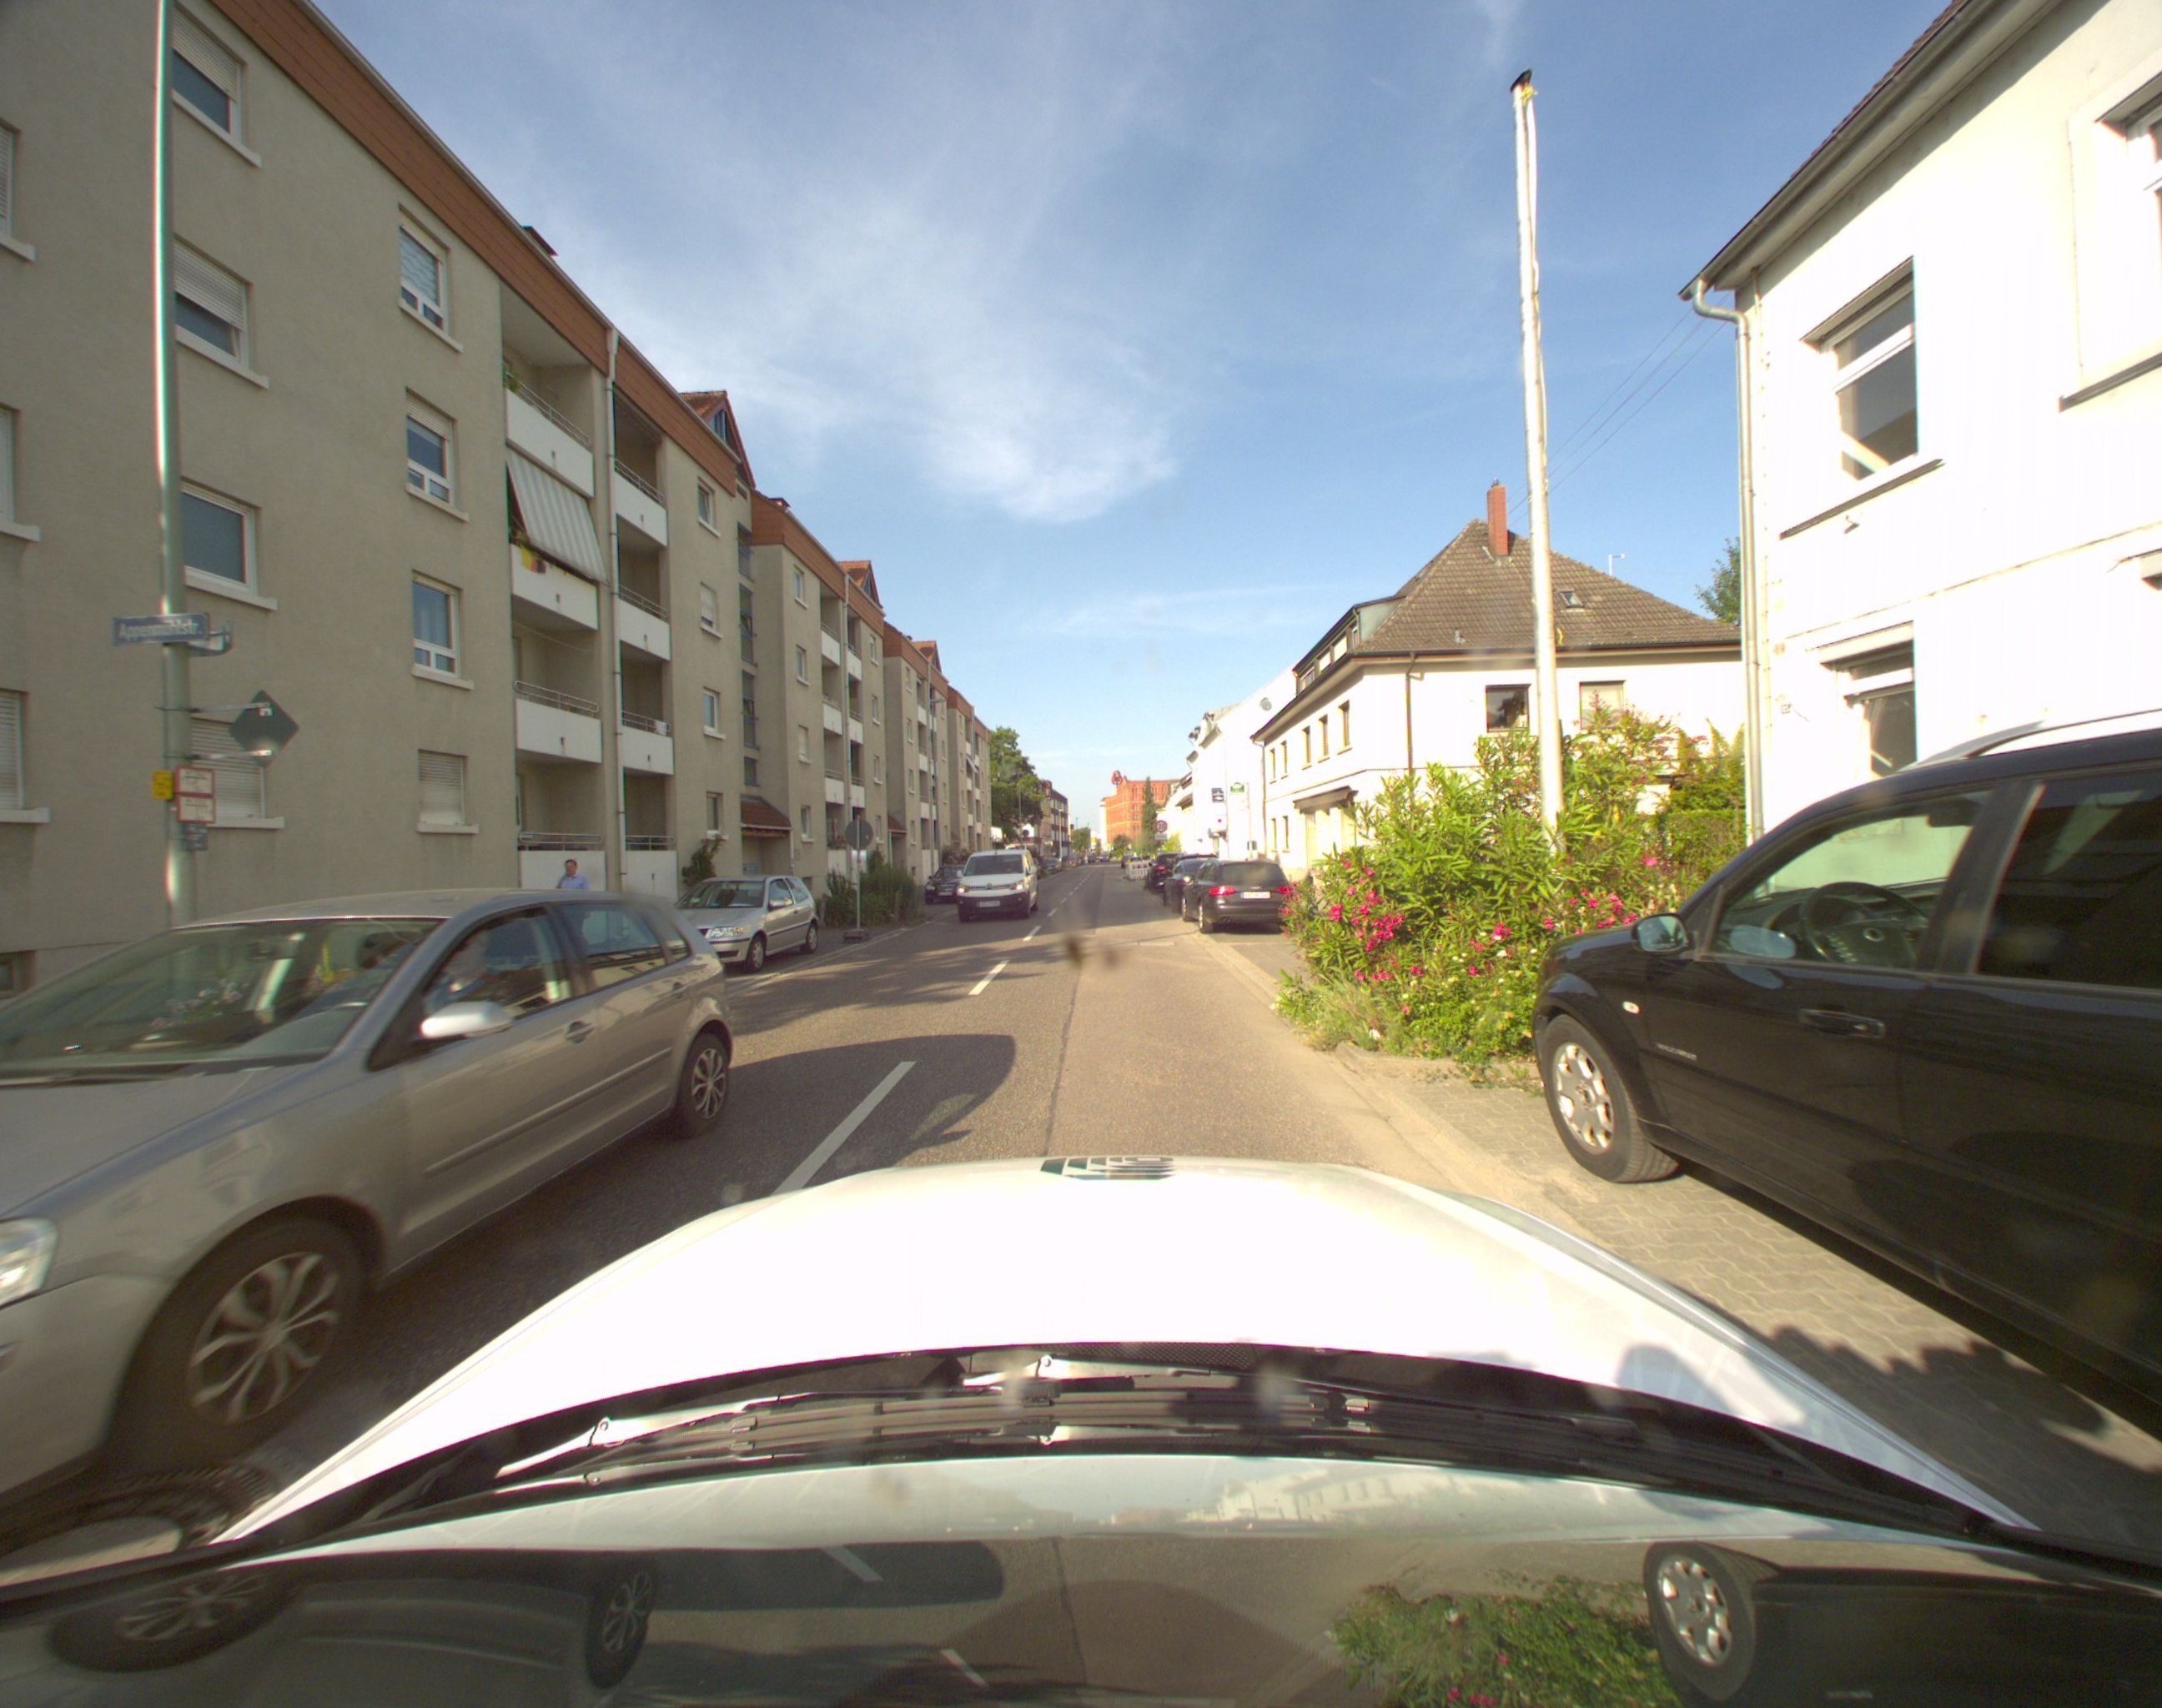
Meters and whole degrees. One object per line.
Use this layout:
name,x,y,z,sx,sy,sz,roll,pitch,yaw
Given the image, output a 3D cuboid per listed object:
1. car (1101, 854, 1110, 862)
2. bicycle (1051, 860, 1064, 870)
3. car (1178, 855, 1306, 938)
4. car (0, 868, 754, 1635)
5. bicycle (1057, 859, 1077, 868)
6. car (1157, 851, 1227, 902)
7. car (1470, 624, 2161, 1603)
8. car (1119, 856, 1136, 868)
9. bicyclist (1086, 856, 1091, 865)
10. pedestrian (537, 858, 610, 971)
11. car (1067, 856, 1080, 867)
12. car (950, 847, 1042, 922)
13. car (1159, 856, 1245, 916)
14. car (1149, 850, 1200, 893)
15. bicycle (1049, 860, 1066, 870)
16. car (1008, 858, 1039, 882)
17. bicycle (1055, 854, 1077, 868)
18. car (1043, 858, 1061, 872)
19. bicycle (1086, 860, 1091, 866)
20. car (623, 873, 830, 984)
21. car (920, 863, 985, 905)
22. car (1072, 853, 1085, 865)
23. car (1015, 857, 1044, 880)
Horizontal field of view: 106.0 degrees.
car,5.159,0.802,170.669,1.757,1.616,4.002,-3,0,2
bicycle,-2.837,1.319,97.656,1.581,1.041,0.707,-2,0,-4
car,3.147,0.761,16.802,1.773,1.420,4.497,-2,0,1
car,-2.953,0.854,3.360,1.612,1.455,3.685,-2,0,1
bicycle,-1.970,1.389,114.664,2.761,1.144,1.144,-2,0,2
car,3.721,0.716,28.015,1.823,1.560,4.317,-3,0,1
car,3.100,0.440,2.218,2.066,1.856,4.615,-3,0,4
car,5.543,0.939,97.032,1.852,1.472,4.001,0,0,2
bicyclist,1.131,0.999,123.033,0.588,1.442,0.751,-2,0,4
pedestrian,-8.517,0.992,13.692,0.716,1.818,0.745,-1,0,2
car,-1.119,1.104,122.585,1.833,1.464,3.586,-2,0,2
car,-2.180,0.748,22.029,1.915,1.767,4.338,-2,0,1
car,3.262,0.804,22.697,1.823,1.420,4.611,-2,0,2
car,3.750,0.722,33.217,1.822,1.630,4.466,1,-2,3
bicycle,-2.757,1.299,96.080,1.997,1.217,0.707,-2,0,-4
car,-3.819,1.055,54.510,1.680,1.454,4.141,-1,0,1
bicycle,-2.054,0.958,112.895,2.906,1.777,1.203,-2,0,2
car,-2.996,1.133,84.095,1.568,1.420,3.805,-1,0,1
bicycle,1.134,1.349,122.973,0.605,0.942,1.813,-2,0,5
car,-5.411,1.065,12.963,1.635,1.395,3.671,-1,0,0
car,-4.759,1.066,30.617,1.680,1.405,4.084,-1,0,1
car,-0.385,0.884,138.481,1.985,1.911,3.692,-2,0,3
car,-3.727,1.027,59.611,1.680,1.603,4.371,-1,0,1
